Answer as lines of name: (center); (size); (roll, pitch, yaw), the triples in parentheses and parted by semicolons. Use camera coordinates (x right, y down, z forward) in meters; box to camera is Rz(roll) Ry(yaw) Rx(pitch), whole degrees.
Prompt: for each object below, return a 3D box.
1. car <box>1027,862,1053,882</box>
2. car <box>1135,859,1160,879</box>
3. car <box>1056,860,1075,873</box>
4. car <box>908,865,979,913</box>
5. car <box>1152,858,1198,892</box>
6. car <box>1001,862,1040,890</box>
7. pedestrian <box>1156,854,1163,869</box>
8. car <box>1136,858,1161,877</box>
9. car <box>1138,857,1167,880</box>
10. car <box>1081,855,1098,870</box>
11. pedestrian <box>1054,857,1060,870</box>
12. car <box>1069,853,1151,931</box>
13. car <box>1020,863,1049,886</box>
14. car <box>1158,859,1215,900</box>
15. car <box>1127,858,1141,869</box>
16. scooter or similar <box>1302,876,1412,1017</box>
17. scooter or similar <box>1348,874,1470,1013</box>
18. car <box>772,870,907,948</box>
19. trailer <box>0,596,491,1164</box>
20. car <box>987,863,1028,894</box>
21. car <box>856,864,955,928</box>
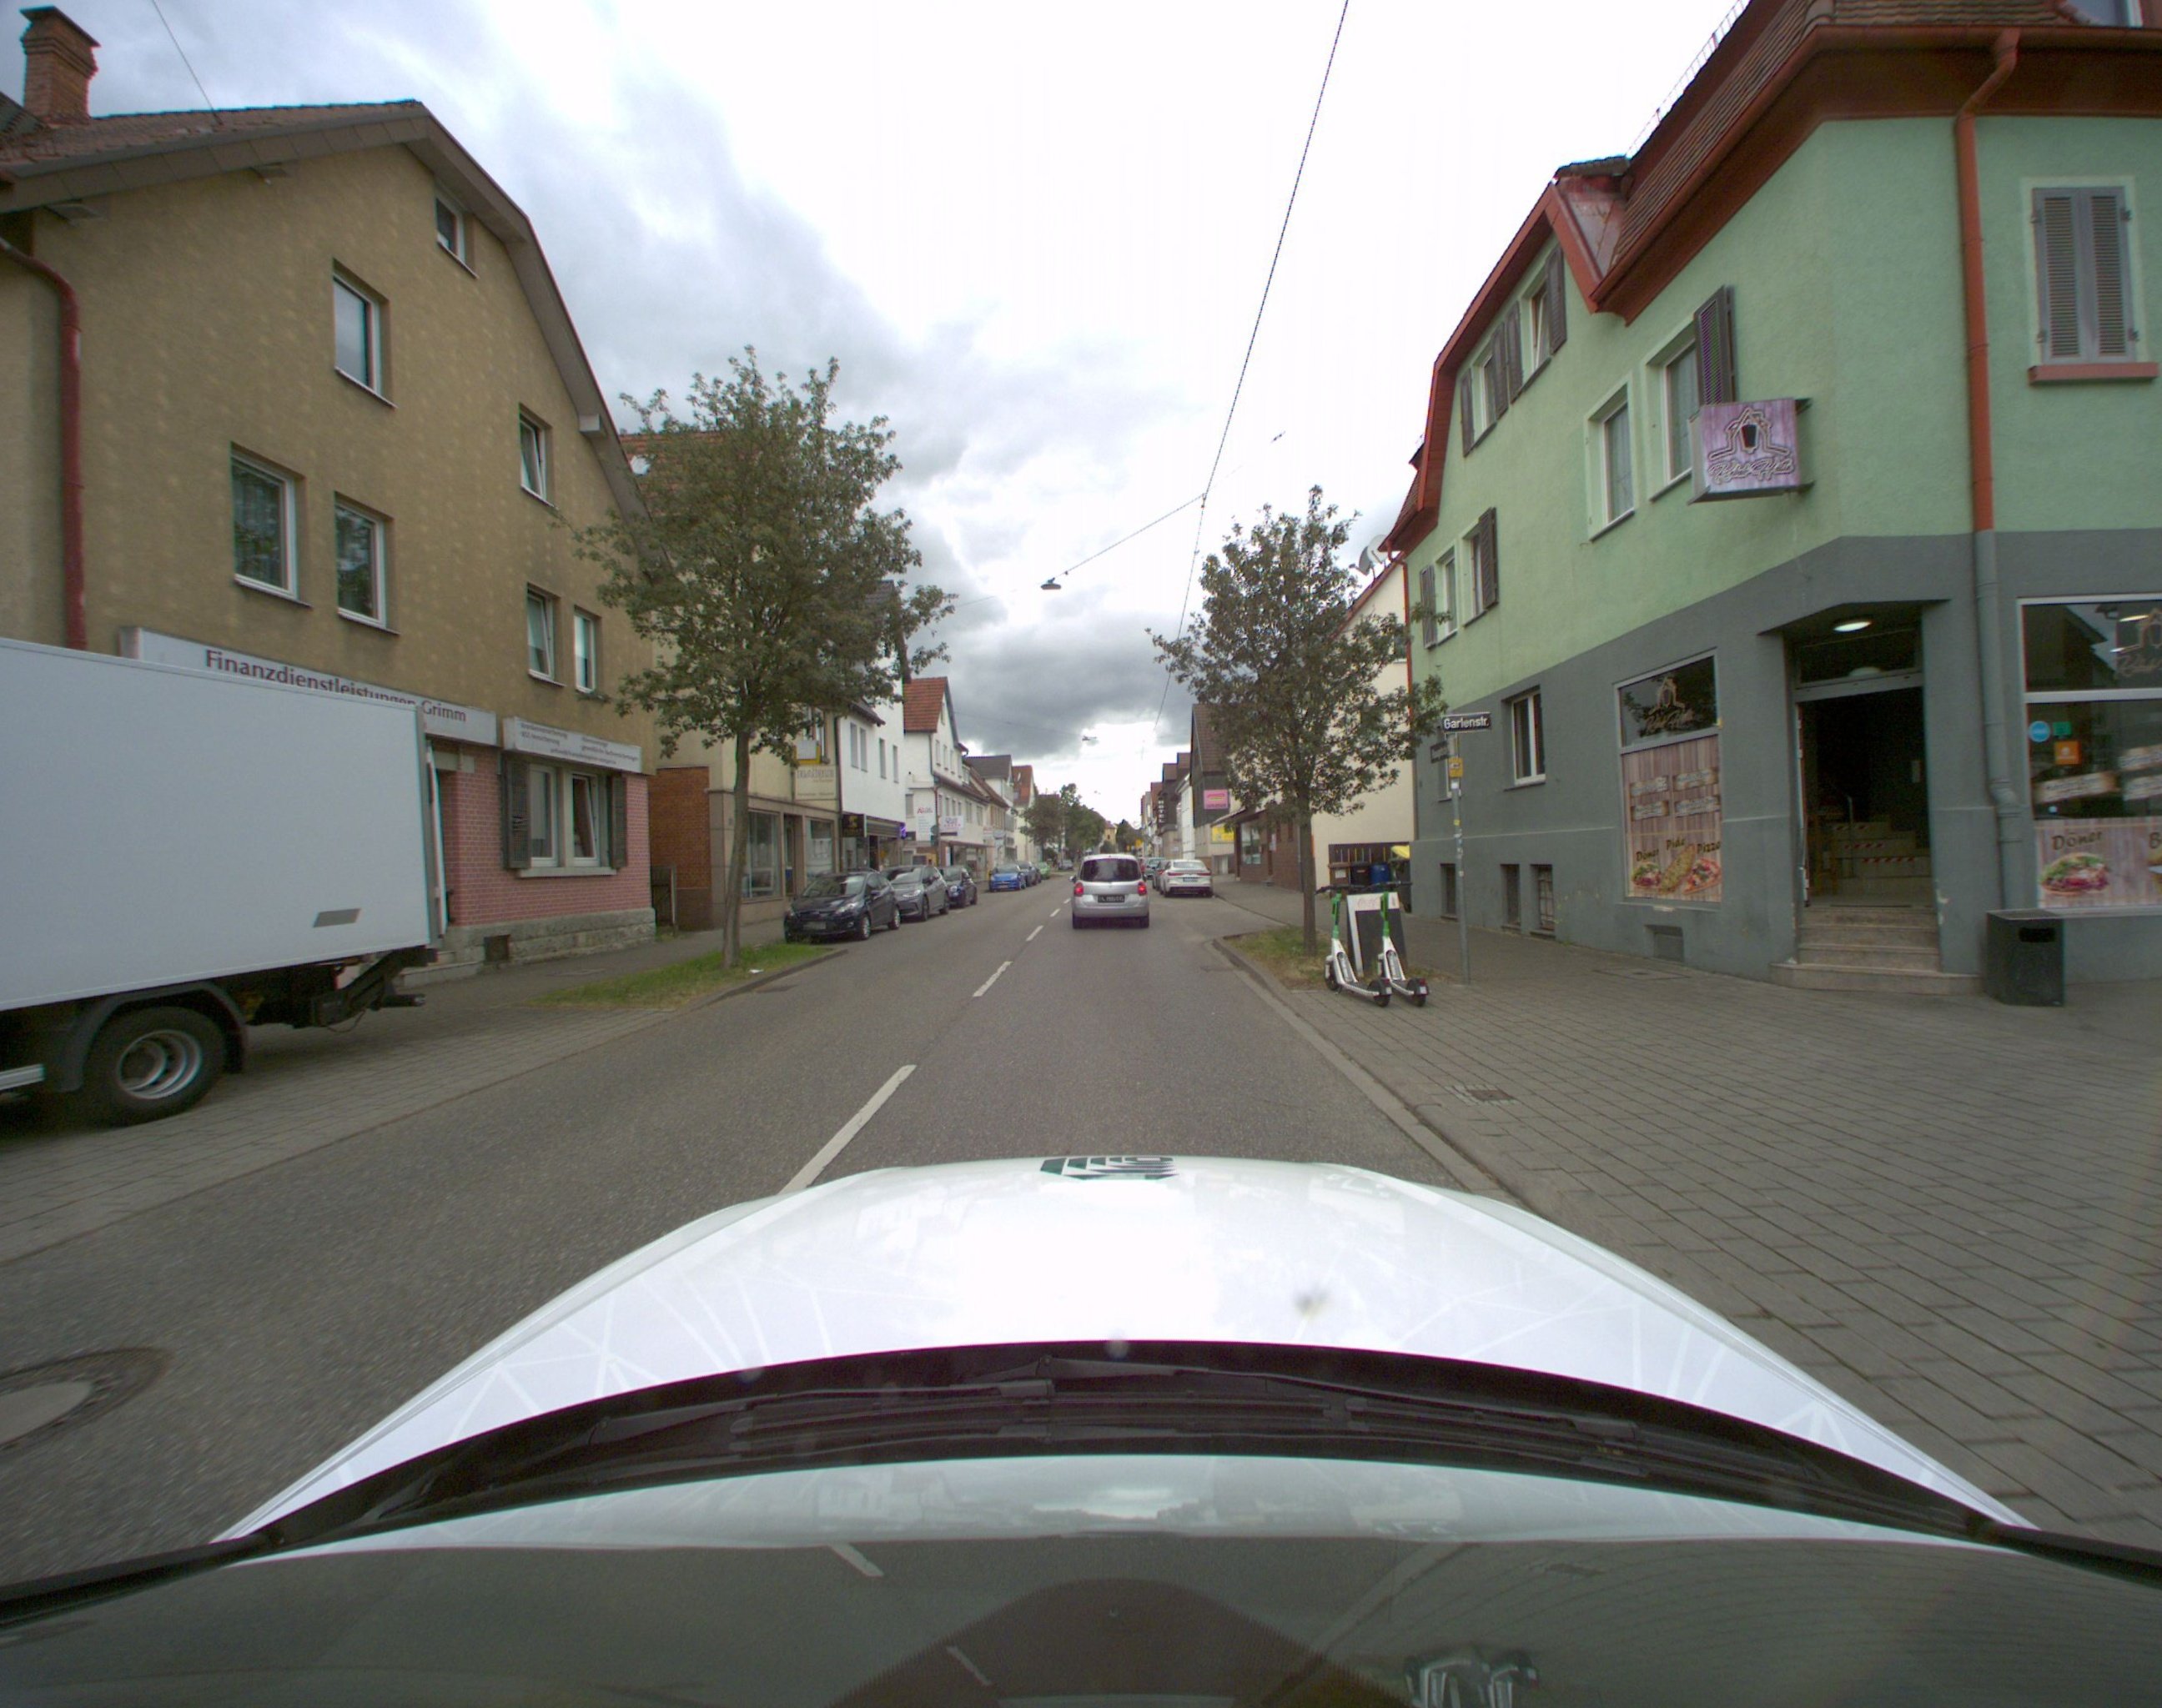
car: (-3.330, 1.461, 66.715); (1.675, 1.447, 4.023); (-3, -1, 3)
car: (4.973, 1.125, 61.330); (1.748, 1.446, 4.458); (-1, -1, 3)
car: (-1.904, 1.569, 101.795); (1.940, 1.467, 4.519); (-4, -1, 3)
car: (-4.791, 1.192, 28.868); (1.675, 1.493, 3.594); (-3, -1, 3)
car: (4.268, 0.941, 37.325); (1.823, 1.446, 4.112); (-1, -1, 3)
car: (-3.734, 1.357, 51.059); (1.796, 1.599, 4.307); (-3, -1, 3)
pedestrian: (10.333, 0.948, 106.738); (0.853, 1.928, 0.900); (-1, -1, 2)
car: (5.574, 1.094, 67.339); (1.868, 1.539, 4.515); (-1, -1, 3)
car: (4.912, 0.973, 56.206); (1.823, 1.497, 3.996); (-1, -1, 3)
car: (1.146, 1.116, 106.726); (1.893, 1.737, 4.369); (-3, -1, 3)
pedestrian: (-3.398, 1.313, 113.721); (0.760, 1.791, 0.890); (-1, -1, 2)
car: (0.695, 0.799, 18.735); (1.675, 1.566, 3.996); (-1, -1, 3)
car: (-3.200, 1.409, 56.798); (1.575, 1.508, 3.815); (-1, -1, 3)
car: (3.993, 0.939, 31.288); (1.823, 1.446, 4.334); (-1, -1, 3)
car: (7.071, 1.250, 109.246); (1.694, 1.467, 4.240); (-1, -1, 2)
scooter or similar: (2.778, 0.869, 8.399); (0.500, 1.235, 1.943); (-1, -1, 2)
scooter or similar: (3.310, 0.838, 8.395); (0.500, 1.235, 1.943); (-1, -1, 2)
car: (-5.246, 1.133, 18.247); (1.676, 1.424, 3.932); (-3, -1, 1)
trailer: (-7.402, 0.168, 4.422); (2.489, 3.219, 7.150); (-1, 0, 7)
car: (-4.003, 1.316, 44.929); (1.675, 1.499, 3.777); (-3, -1, 3)
car: (-4.942, 1.126, 23.519); (1.703, 1.566, 4.116); (-3, -1, 3)
